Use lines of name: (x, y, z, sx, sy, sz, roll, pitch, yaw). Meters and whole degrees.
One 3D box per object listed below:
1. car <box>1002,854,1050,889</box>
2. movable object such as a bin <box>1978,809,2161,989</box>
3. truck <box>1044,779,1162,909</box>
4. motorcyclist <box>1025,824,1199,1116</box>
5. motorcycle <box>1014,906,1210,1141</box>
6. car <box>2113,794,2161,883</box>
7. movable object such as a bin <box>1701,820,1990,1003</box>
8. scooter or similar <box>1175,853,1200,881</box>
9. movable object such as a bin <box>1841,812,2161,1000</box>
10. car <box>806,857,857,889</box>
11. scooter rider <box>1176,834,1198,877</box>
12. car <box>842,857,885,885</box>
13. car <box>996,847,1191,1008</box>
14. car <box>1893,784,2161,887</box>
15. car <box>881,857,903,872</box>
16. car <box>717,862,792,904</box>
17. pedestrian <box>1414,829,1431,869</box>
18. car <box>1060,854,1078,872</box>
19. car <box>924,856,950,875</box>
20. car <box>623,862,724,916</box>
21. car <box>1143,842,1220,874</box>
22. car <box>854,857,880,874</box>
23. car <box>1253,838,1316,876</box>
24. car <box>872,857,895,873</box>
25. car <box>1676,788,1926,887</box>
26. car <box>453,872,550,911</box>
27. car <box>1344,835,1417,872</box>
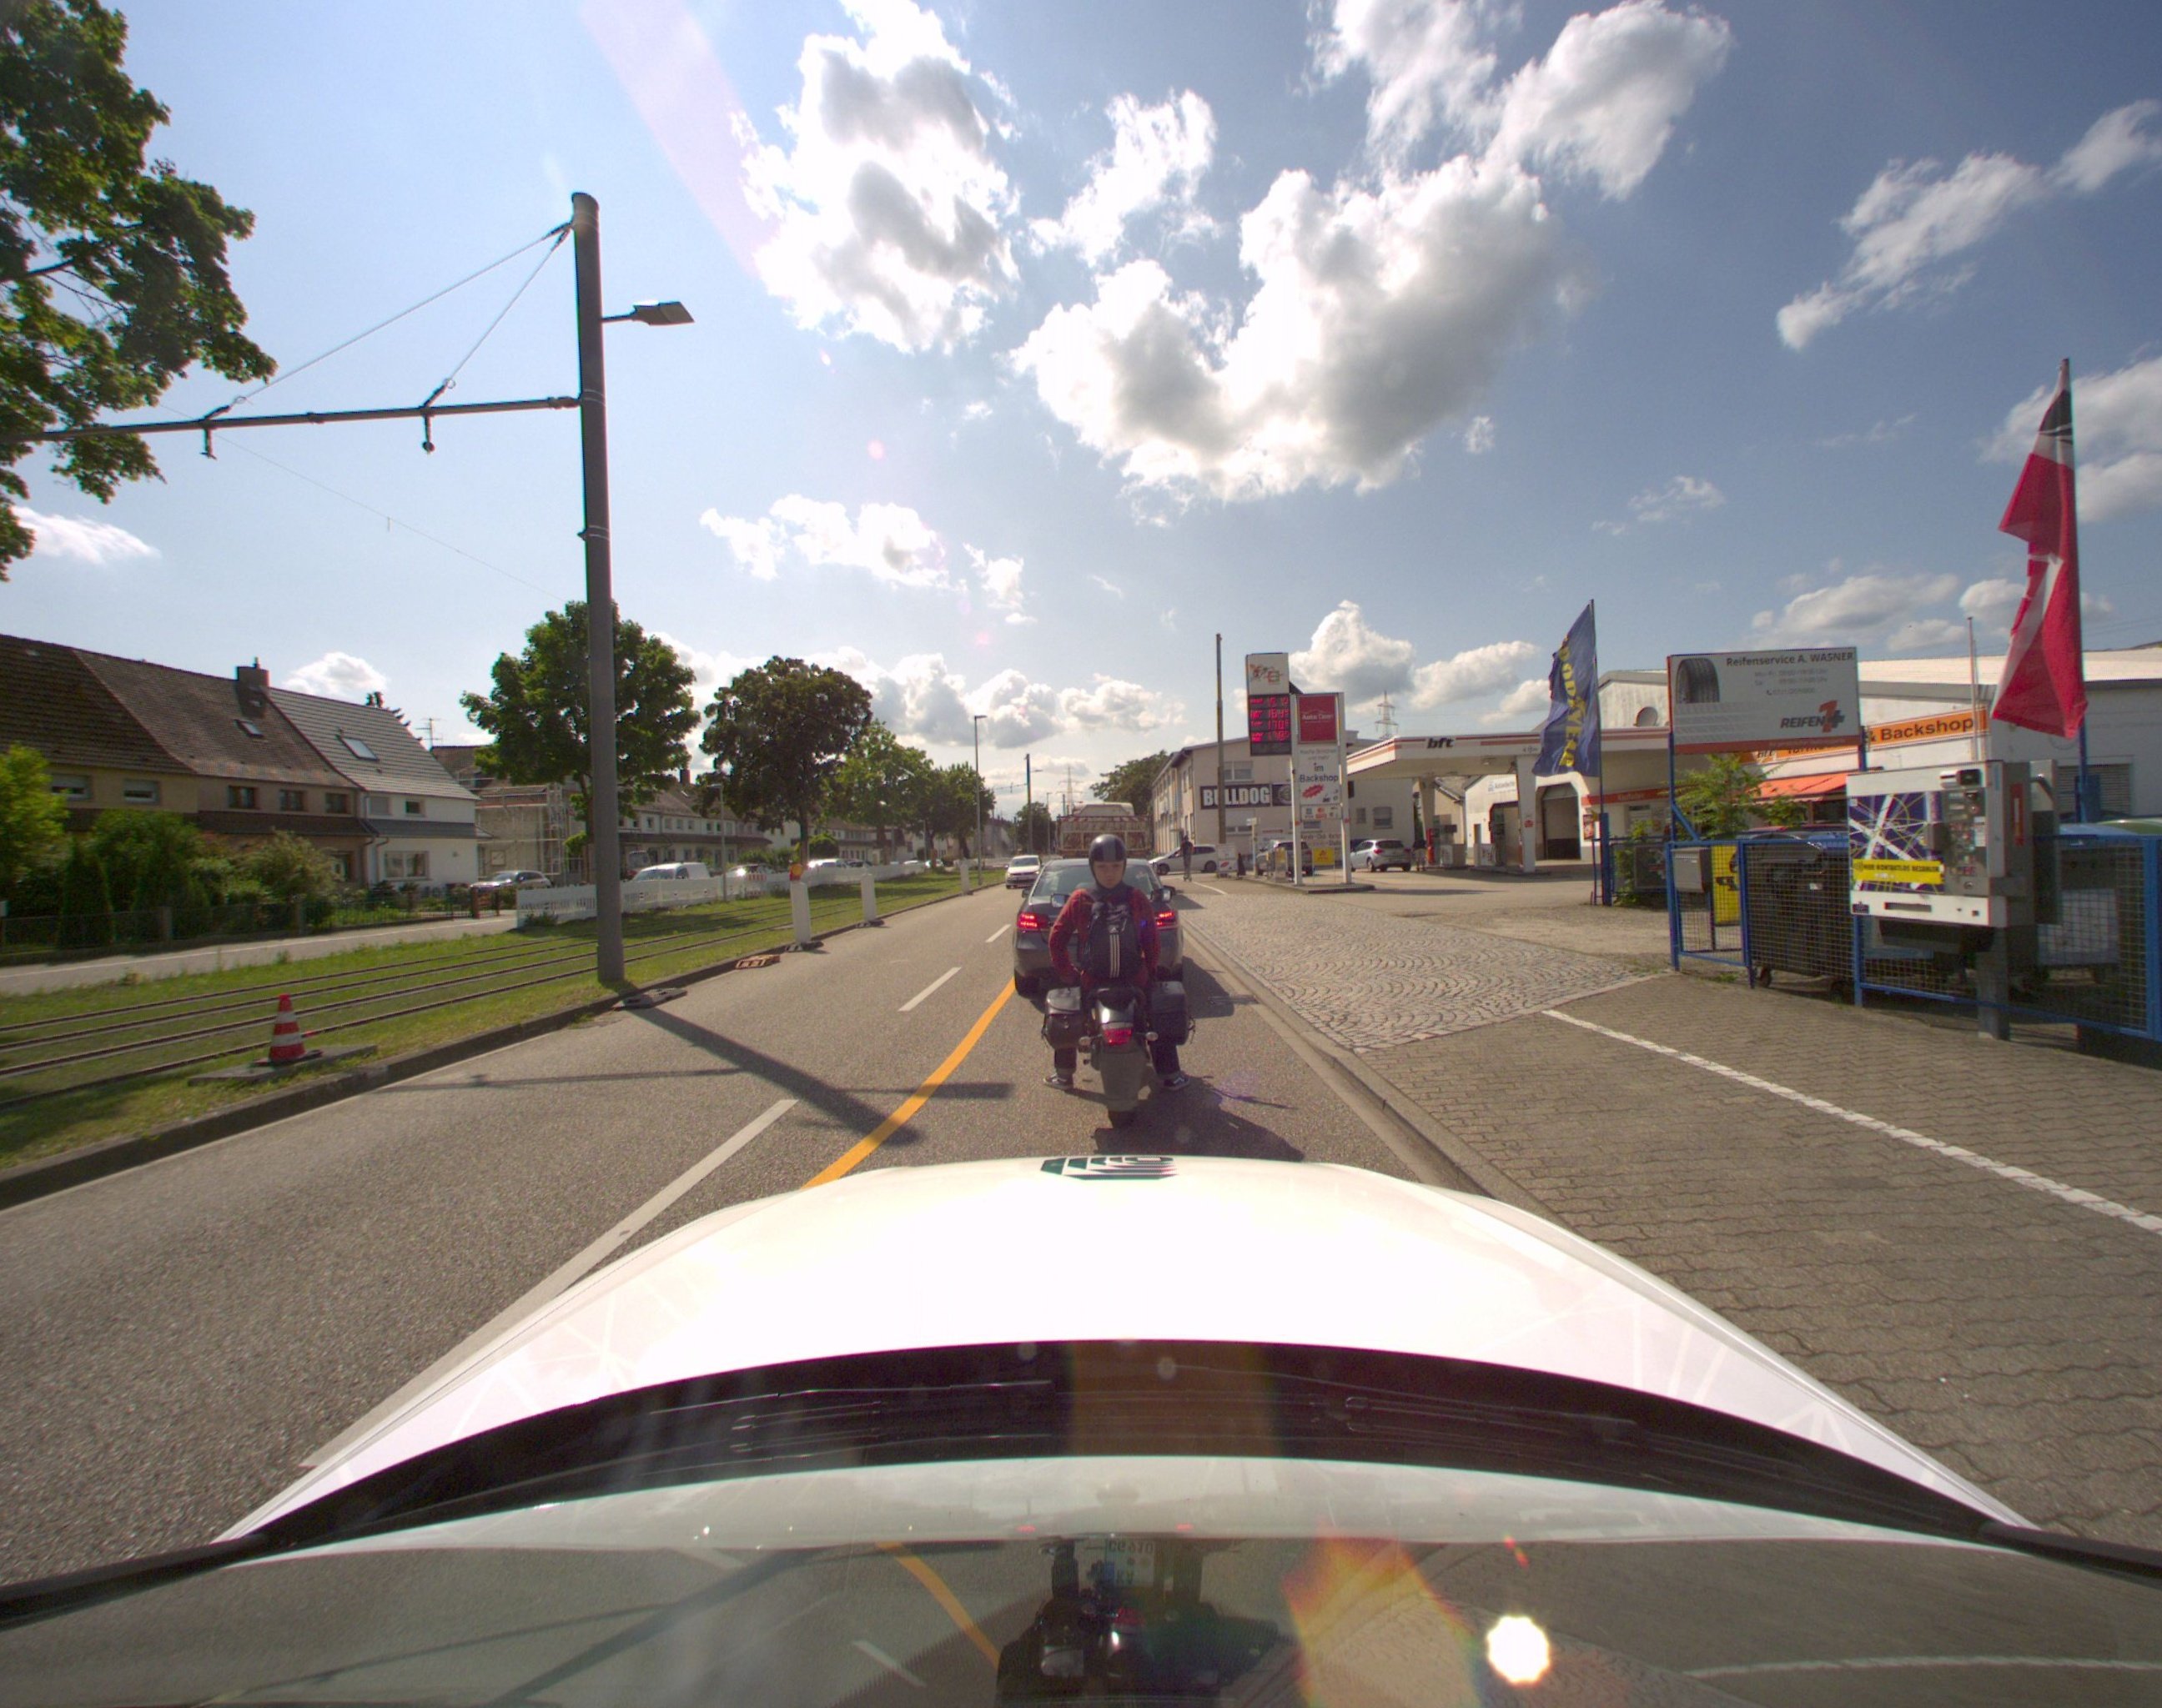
car: (-2.477, 0.748, 37.515, 1.709, 1.413, 4.264, -2, 0, 2)
movable object such as a bin: (9.449, 0.334, 7.190, 1.425, 1.454, 1.455, -2, 0, 0)
truck: (0.641, -0.283, 25.604, 2.960, 3.304, 8.407, -2, 0, 1)
motorcyclist: (0.194, 0.652, 5.195, 0.966, 1.633, 1.215, -1, 0, 1)
motorcycle: (0.195, 0.931, 5.313, 0.972, 1.013, 2.433, -1, 0, 2)
car: (26.351, -0.434, 18.185, 3.972, 2.013, 2.001, -2, 0, 1)
movable object such as a bin: (6.824, 0.469, 7.404, 1.222, 1.454, 1.455, -2, 0, 0)
scooter or similar: (4.553, 0.552, 34.836, 0.793, 1.144, 1.518, -2, 0, -2)
movable object such as a bin: (8.103, 0.415, 7.280, 1.222, 1.454, 1.455, -2, 0, 0)
car: (-15.093, 1.109, 49.391, 1.692, 1.739, 3.862, -2, 0, 2)
scooter rider: (4.532, 0.062, 34.851, 0.793, 1.818, 0.508, -2, 0, -3)
car: (-14.869, 1.138, 55.757, 1.692, 1.739, 3.862, -2, 0, 2)
car: (0.154, 0.705, 9.915, 1.826, 1.479, 4.009, -3, 0, 1)
car: (21.249, -0.401, 18.269, 3.972, 2.013, 2.001, -2, 0, 1)
car: (-24.381, 1.340, 105.364, 1.692, 1.739, 4.064, -2, 0, 2)
car: (-15.326, 1.322, 38.486, 1.692, 1.739, 4.056, -2, 0, 2)
pedestrian: (14.841, -0.210, 35.388, 0.628, 1.683, 0.626, -2, 0, 23)
car: (-1.216, 0.899, 83.164, 1.674, 1.624, 4.120, -2, 0, 1)
car: (-14.190, 1.149, 80.318, 1.692, 1.739, 3.862, -2, 0, 2)
car: (-15.419, 1.276, 31.055, 1.692, 1.817, 3.862, -2, 0, 2)
car: (5.764, 0.226, 47.048, 4.101, 1.624, 1.682, -3, 0, -7)
car: (-24.467, 1.298, 93.137, 1.692, 1.739, 4.064, -2, 0, 2)
car: (9.067, 0.121, 36.576, 1.826, 1.536, 4.009, -3, 0, 1)
car: (-24.051, 1.332, 99.340, 1.692, 1.739, 4.064, -2, 0, 2)
car: (16.601, -0.372, 18.961, 3.972, 2.013, 2.001, -2, 0, 1)
car: (-27.480, 1.728, 38.792, 1.692, 1.593, 3.862, -2, 0, 2)
car: (13.537, -0.024, 37.069, 1.826, 1.479, 4.009, -3, 0, 1)
